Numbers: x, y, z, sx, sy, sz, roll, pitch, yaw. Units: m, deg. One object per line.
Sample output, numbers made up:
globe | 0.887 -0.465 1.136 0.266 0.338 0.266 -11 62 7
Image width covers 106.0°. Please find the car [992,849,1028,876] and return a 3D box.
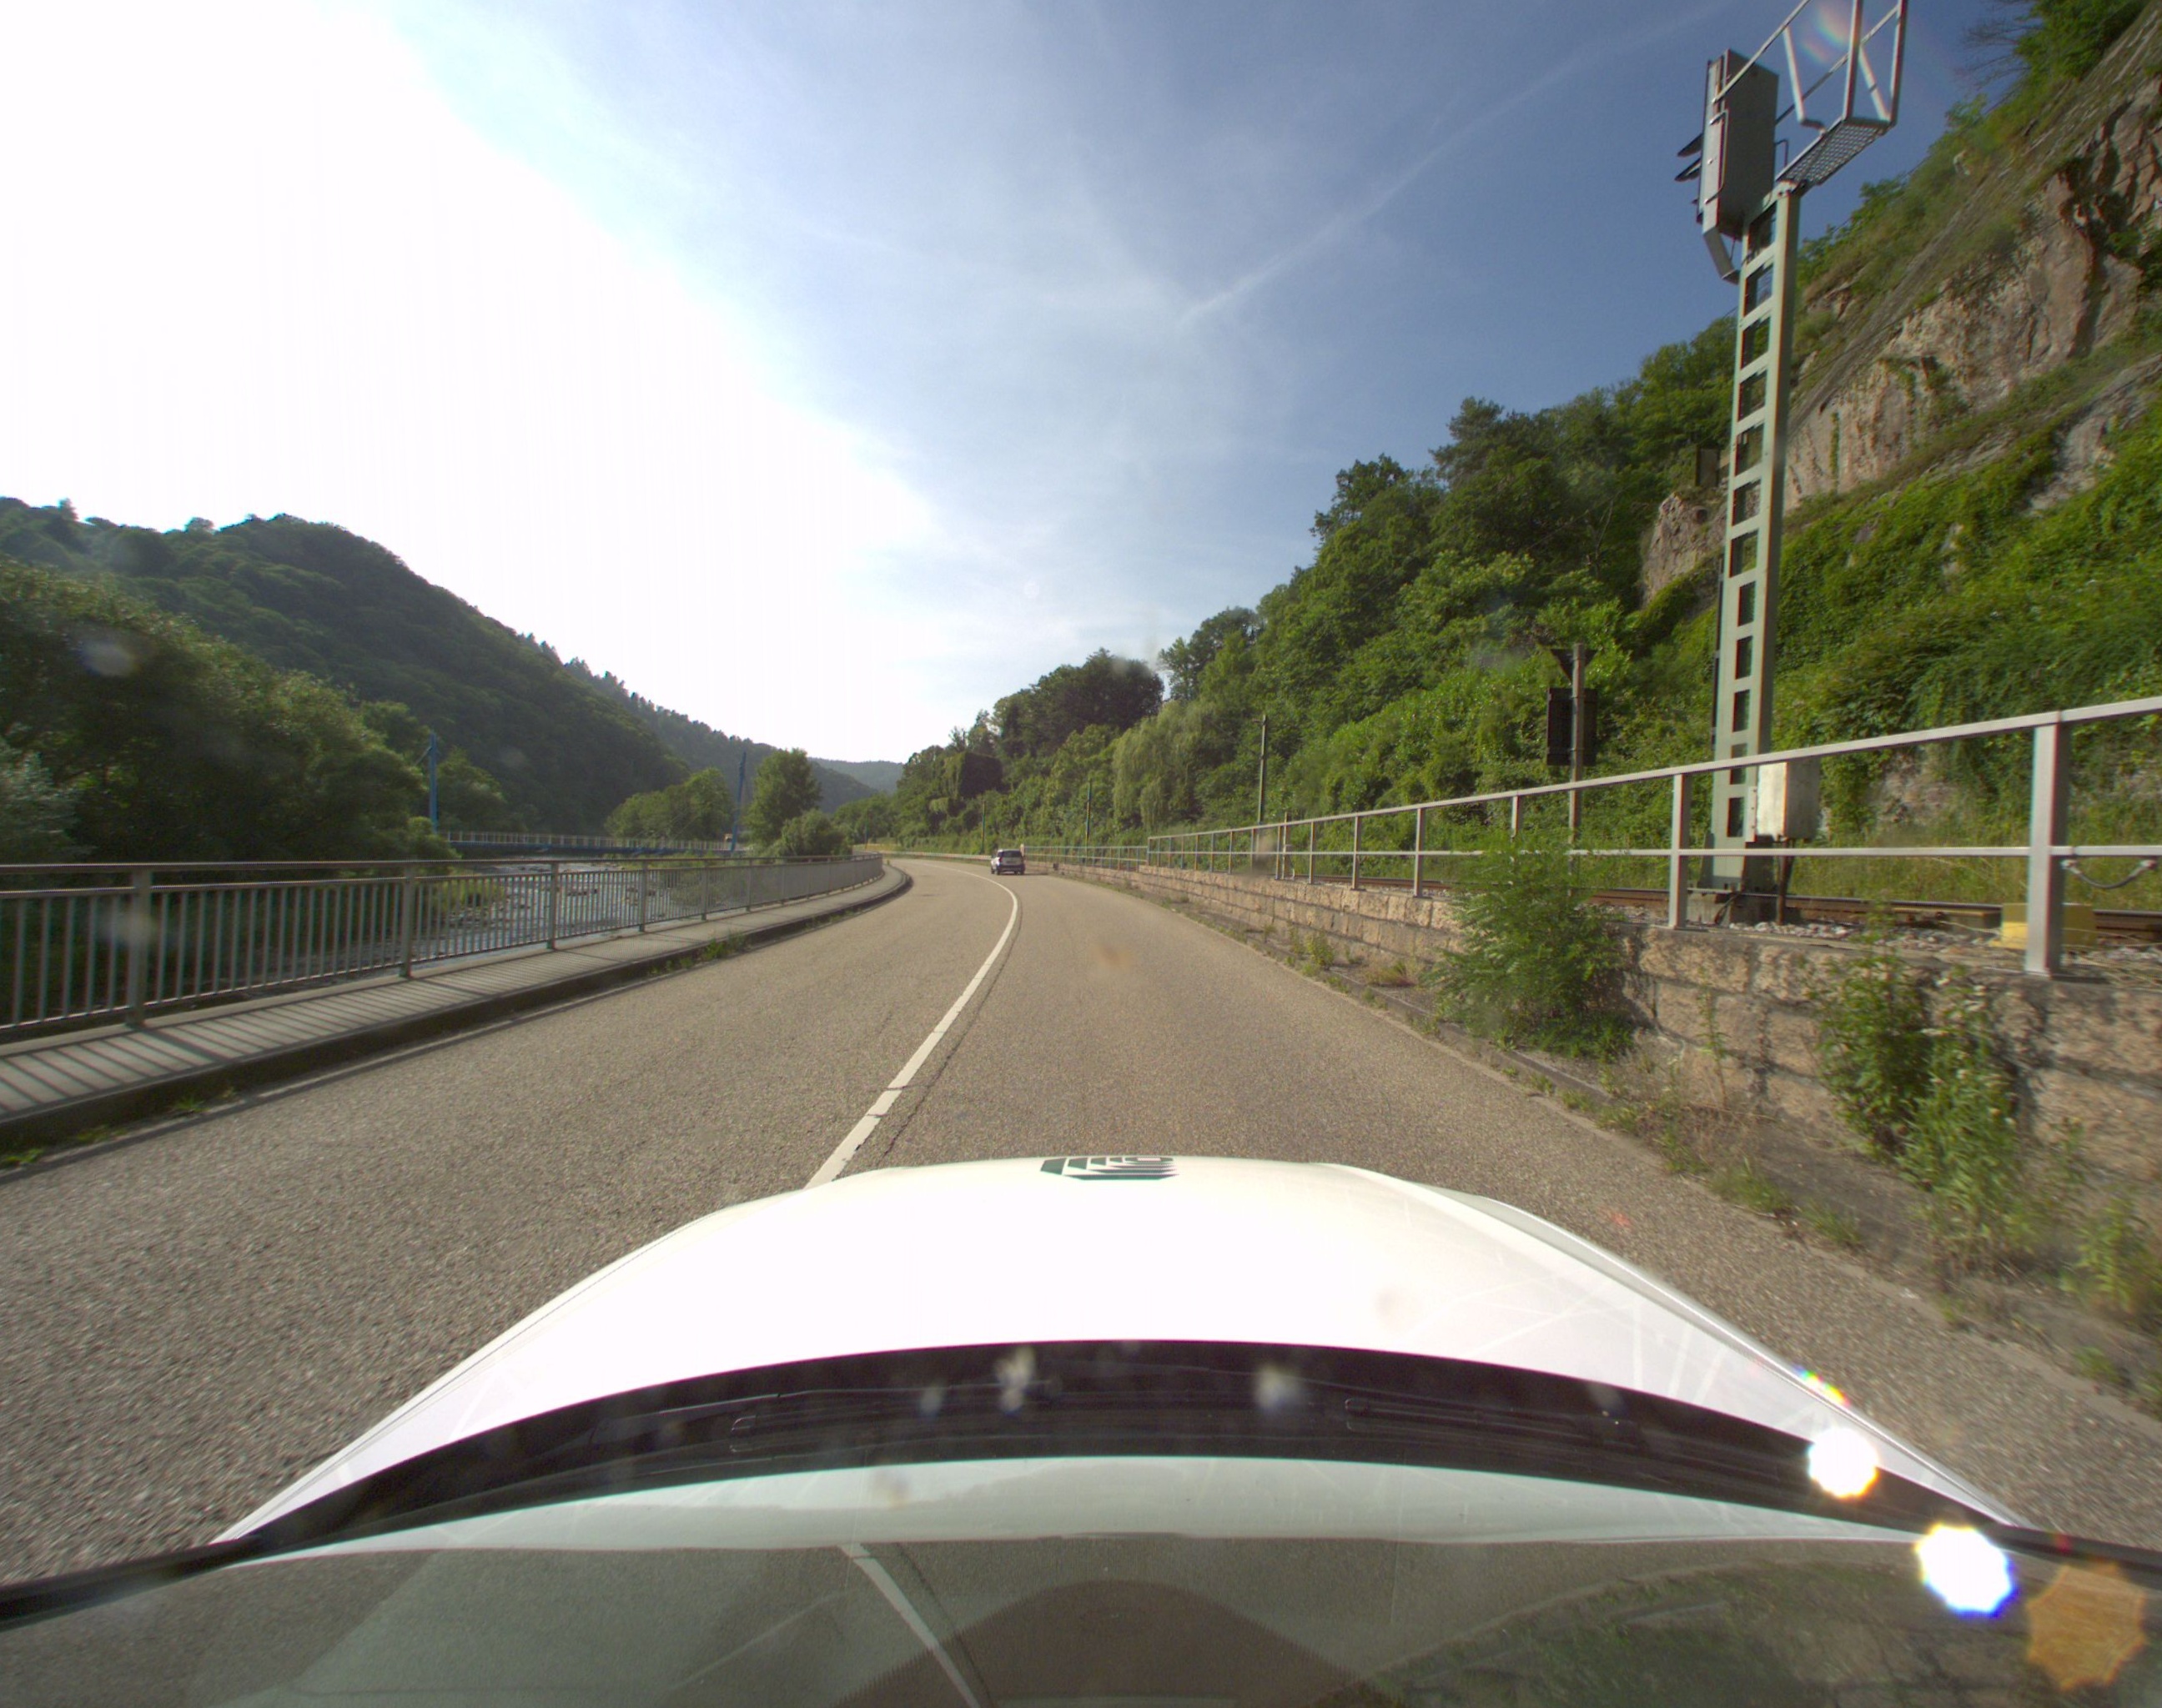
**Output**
car | -4.634 0.541 52.693 1.874 1.656 3.984 0 0 -12
